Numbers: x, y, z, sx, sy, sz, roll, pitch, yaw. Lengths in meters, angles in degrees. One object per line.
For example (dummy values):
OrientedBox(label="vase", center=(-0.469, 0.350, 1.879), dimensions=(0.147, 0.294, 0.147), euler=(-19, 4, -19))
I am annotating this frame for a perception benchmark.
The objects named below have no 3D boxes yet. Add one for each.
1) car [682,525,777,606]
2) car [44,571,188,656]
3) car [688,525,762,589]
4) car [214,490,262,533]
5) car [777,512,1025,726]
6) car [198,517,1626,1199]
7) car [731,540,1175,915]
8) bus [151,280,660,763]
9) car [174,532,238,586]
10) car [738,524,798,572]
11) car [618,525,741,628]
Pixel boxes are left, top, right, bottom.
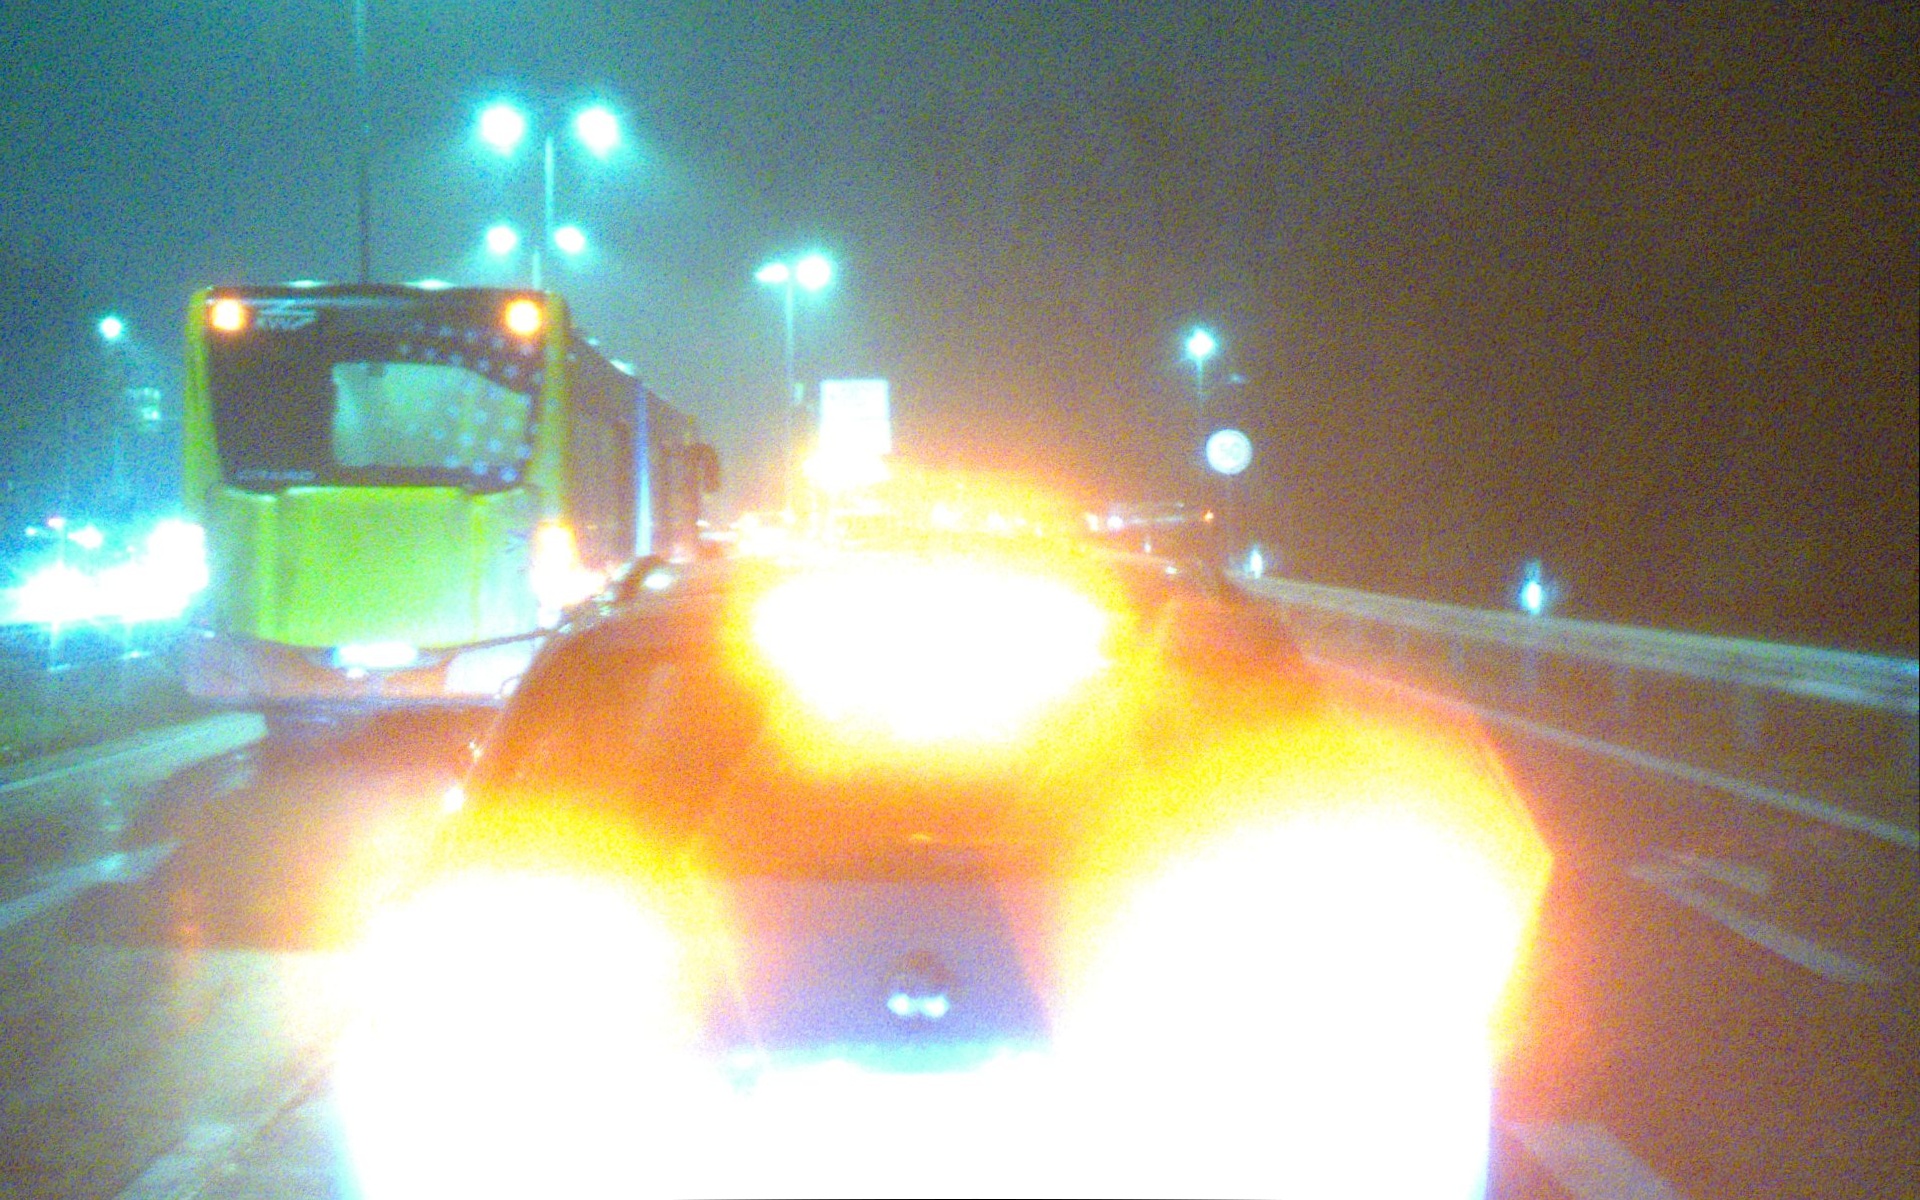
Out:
OrientedBox(label="car", center=(-4.531, -0.708, 68.029), dimensions=(1.779, 1.538, 3.875), euler=(0, 1, -3))
OrientedBox(label="car", center=(-15.658, 0.227, 63.949), dimensions=(1.610, 1.377, 4.164), euler=(-3, 1, 0))
OrientedBox(label="car", center=(-5.813, -1.083, 84.928), dimensions=(1.779, 1.538, 3.875), euler=(0, 1, -4))
OrientedBox(label="car", center=(-35.559, -4.333, 169.229), dimensions=(2.120, 2.007, 4.001), euler=(1, 1, -14))
OrientedBox(label="car", center=(-0.533, 0.100, 27.201), dimensions=(1.739, 1.559, 3.777), euler=(0, 1, -4))
OrientedBox(label="car", center=(-0.103, 0.629, 6.778), dimensions=(1.821, 1.479, 4.568), euler=(3, 1, -1))
OrientedBox(label="car", center=(-0.128, 0.462, 15.848), dimensions=(1.731, 1.444, 4.725), euler=(0, 1, -2))
OrientedBox(label="bus", center=(-3.853, -0.579, 25.905), dimensions=(2.815, 3.013, 8.688), euler=(0, 1, -3))
OrientedBox(label="car", center=(-28.952, -1.571, 132.089), dimensions=(1.993, 2.007, 4.001), euler=(1, 1, -7))
OrientedBox(label="car", center=(-6.252, -1.707, 112.379), dimensions=(1.779, 1.538, 3.875), euler=(0, 1, -1))
OrientedBox(label="car", center=(-4.319, -0.389, 53.334), dimensions=(1.779, 1.538, 3.875), euler=(0, 1, -3))
